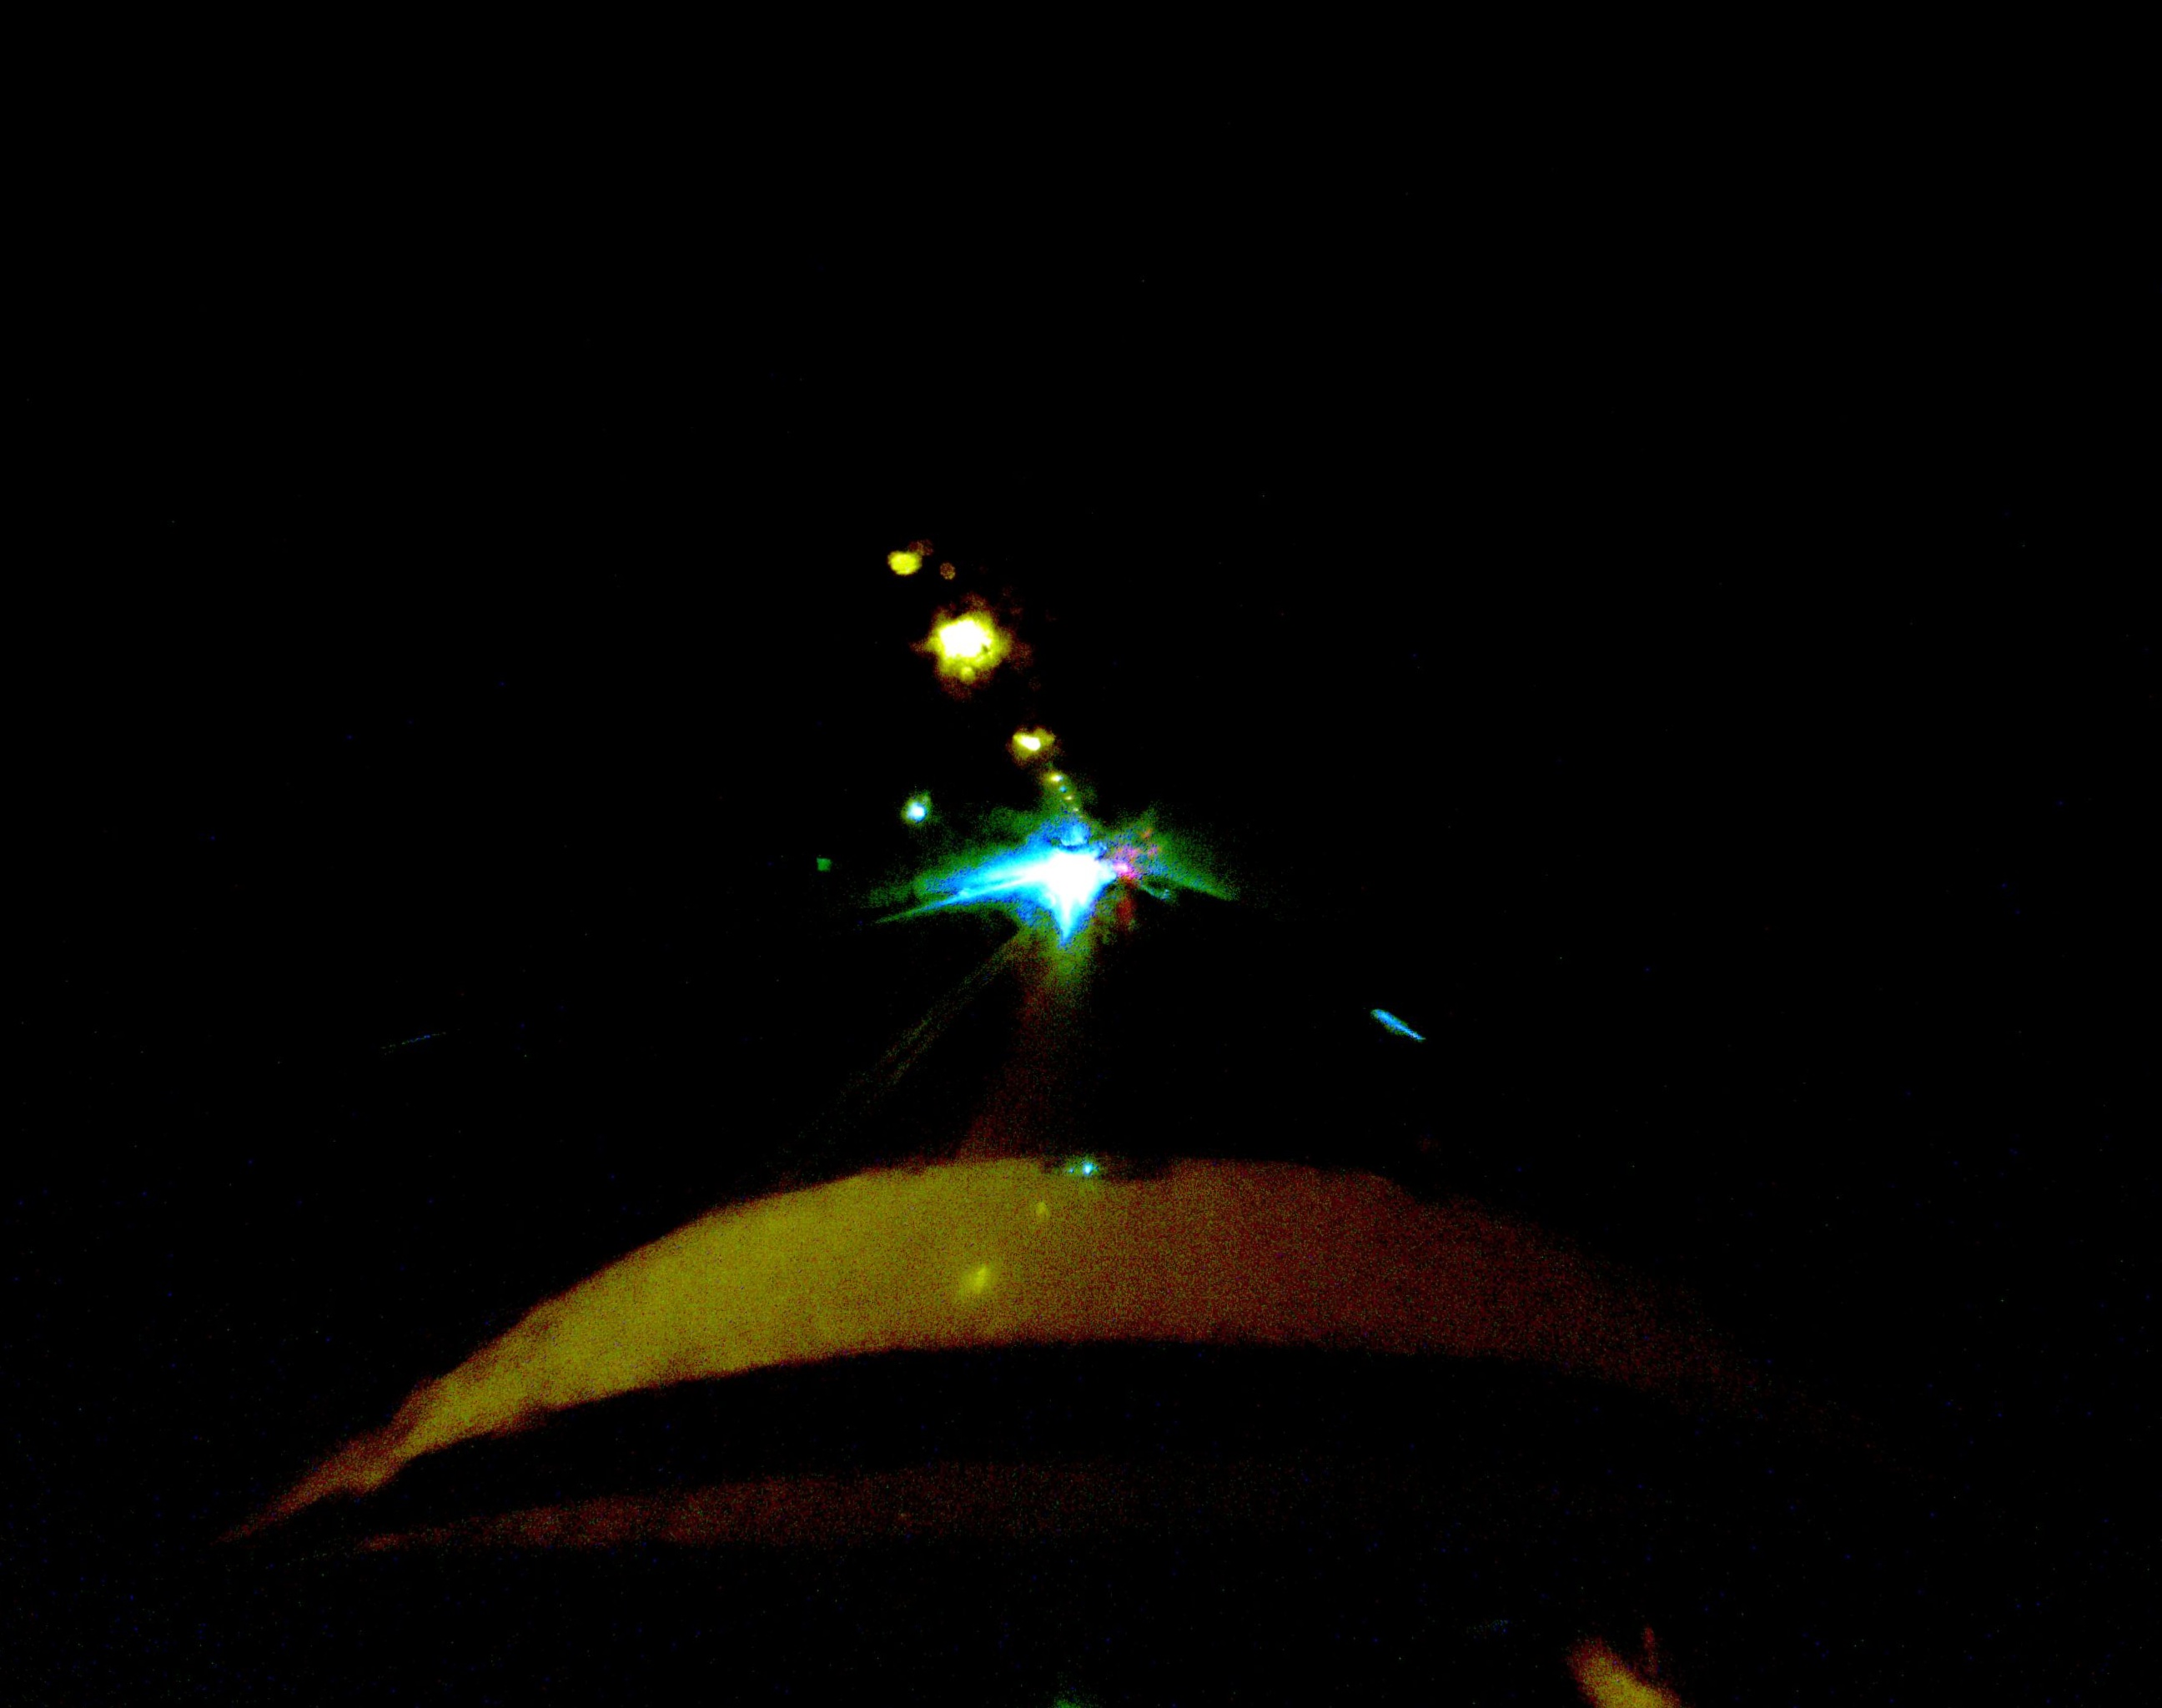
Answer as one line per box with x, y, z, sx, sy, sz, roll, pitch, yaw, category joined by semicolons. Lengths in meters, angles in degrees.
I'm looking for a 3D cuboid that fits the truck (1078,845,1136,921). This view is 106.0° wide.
1.166;1.196;36.344;2.253;3.011;7.418;1;-1;2;truck
